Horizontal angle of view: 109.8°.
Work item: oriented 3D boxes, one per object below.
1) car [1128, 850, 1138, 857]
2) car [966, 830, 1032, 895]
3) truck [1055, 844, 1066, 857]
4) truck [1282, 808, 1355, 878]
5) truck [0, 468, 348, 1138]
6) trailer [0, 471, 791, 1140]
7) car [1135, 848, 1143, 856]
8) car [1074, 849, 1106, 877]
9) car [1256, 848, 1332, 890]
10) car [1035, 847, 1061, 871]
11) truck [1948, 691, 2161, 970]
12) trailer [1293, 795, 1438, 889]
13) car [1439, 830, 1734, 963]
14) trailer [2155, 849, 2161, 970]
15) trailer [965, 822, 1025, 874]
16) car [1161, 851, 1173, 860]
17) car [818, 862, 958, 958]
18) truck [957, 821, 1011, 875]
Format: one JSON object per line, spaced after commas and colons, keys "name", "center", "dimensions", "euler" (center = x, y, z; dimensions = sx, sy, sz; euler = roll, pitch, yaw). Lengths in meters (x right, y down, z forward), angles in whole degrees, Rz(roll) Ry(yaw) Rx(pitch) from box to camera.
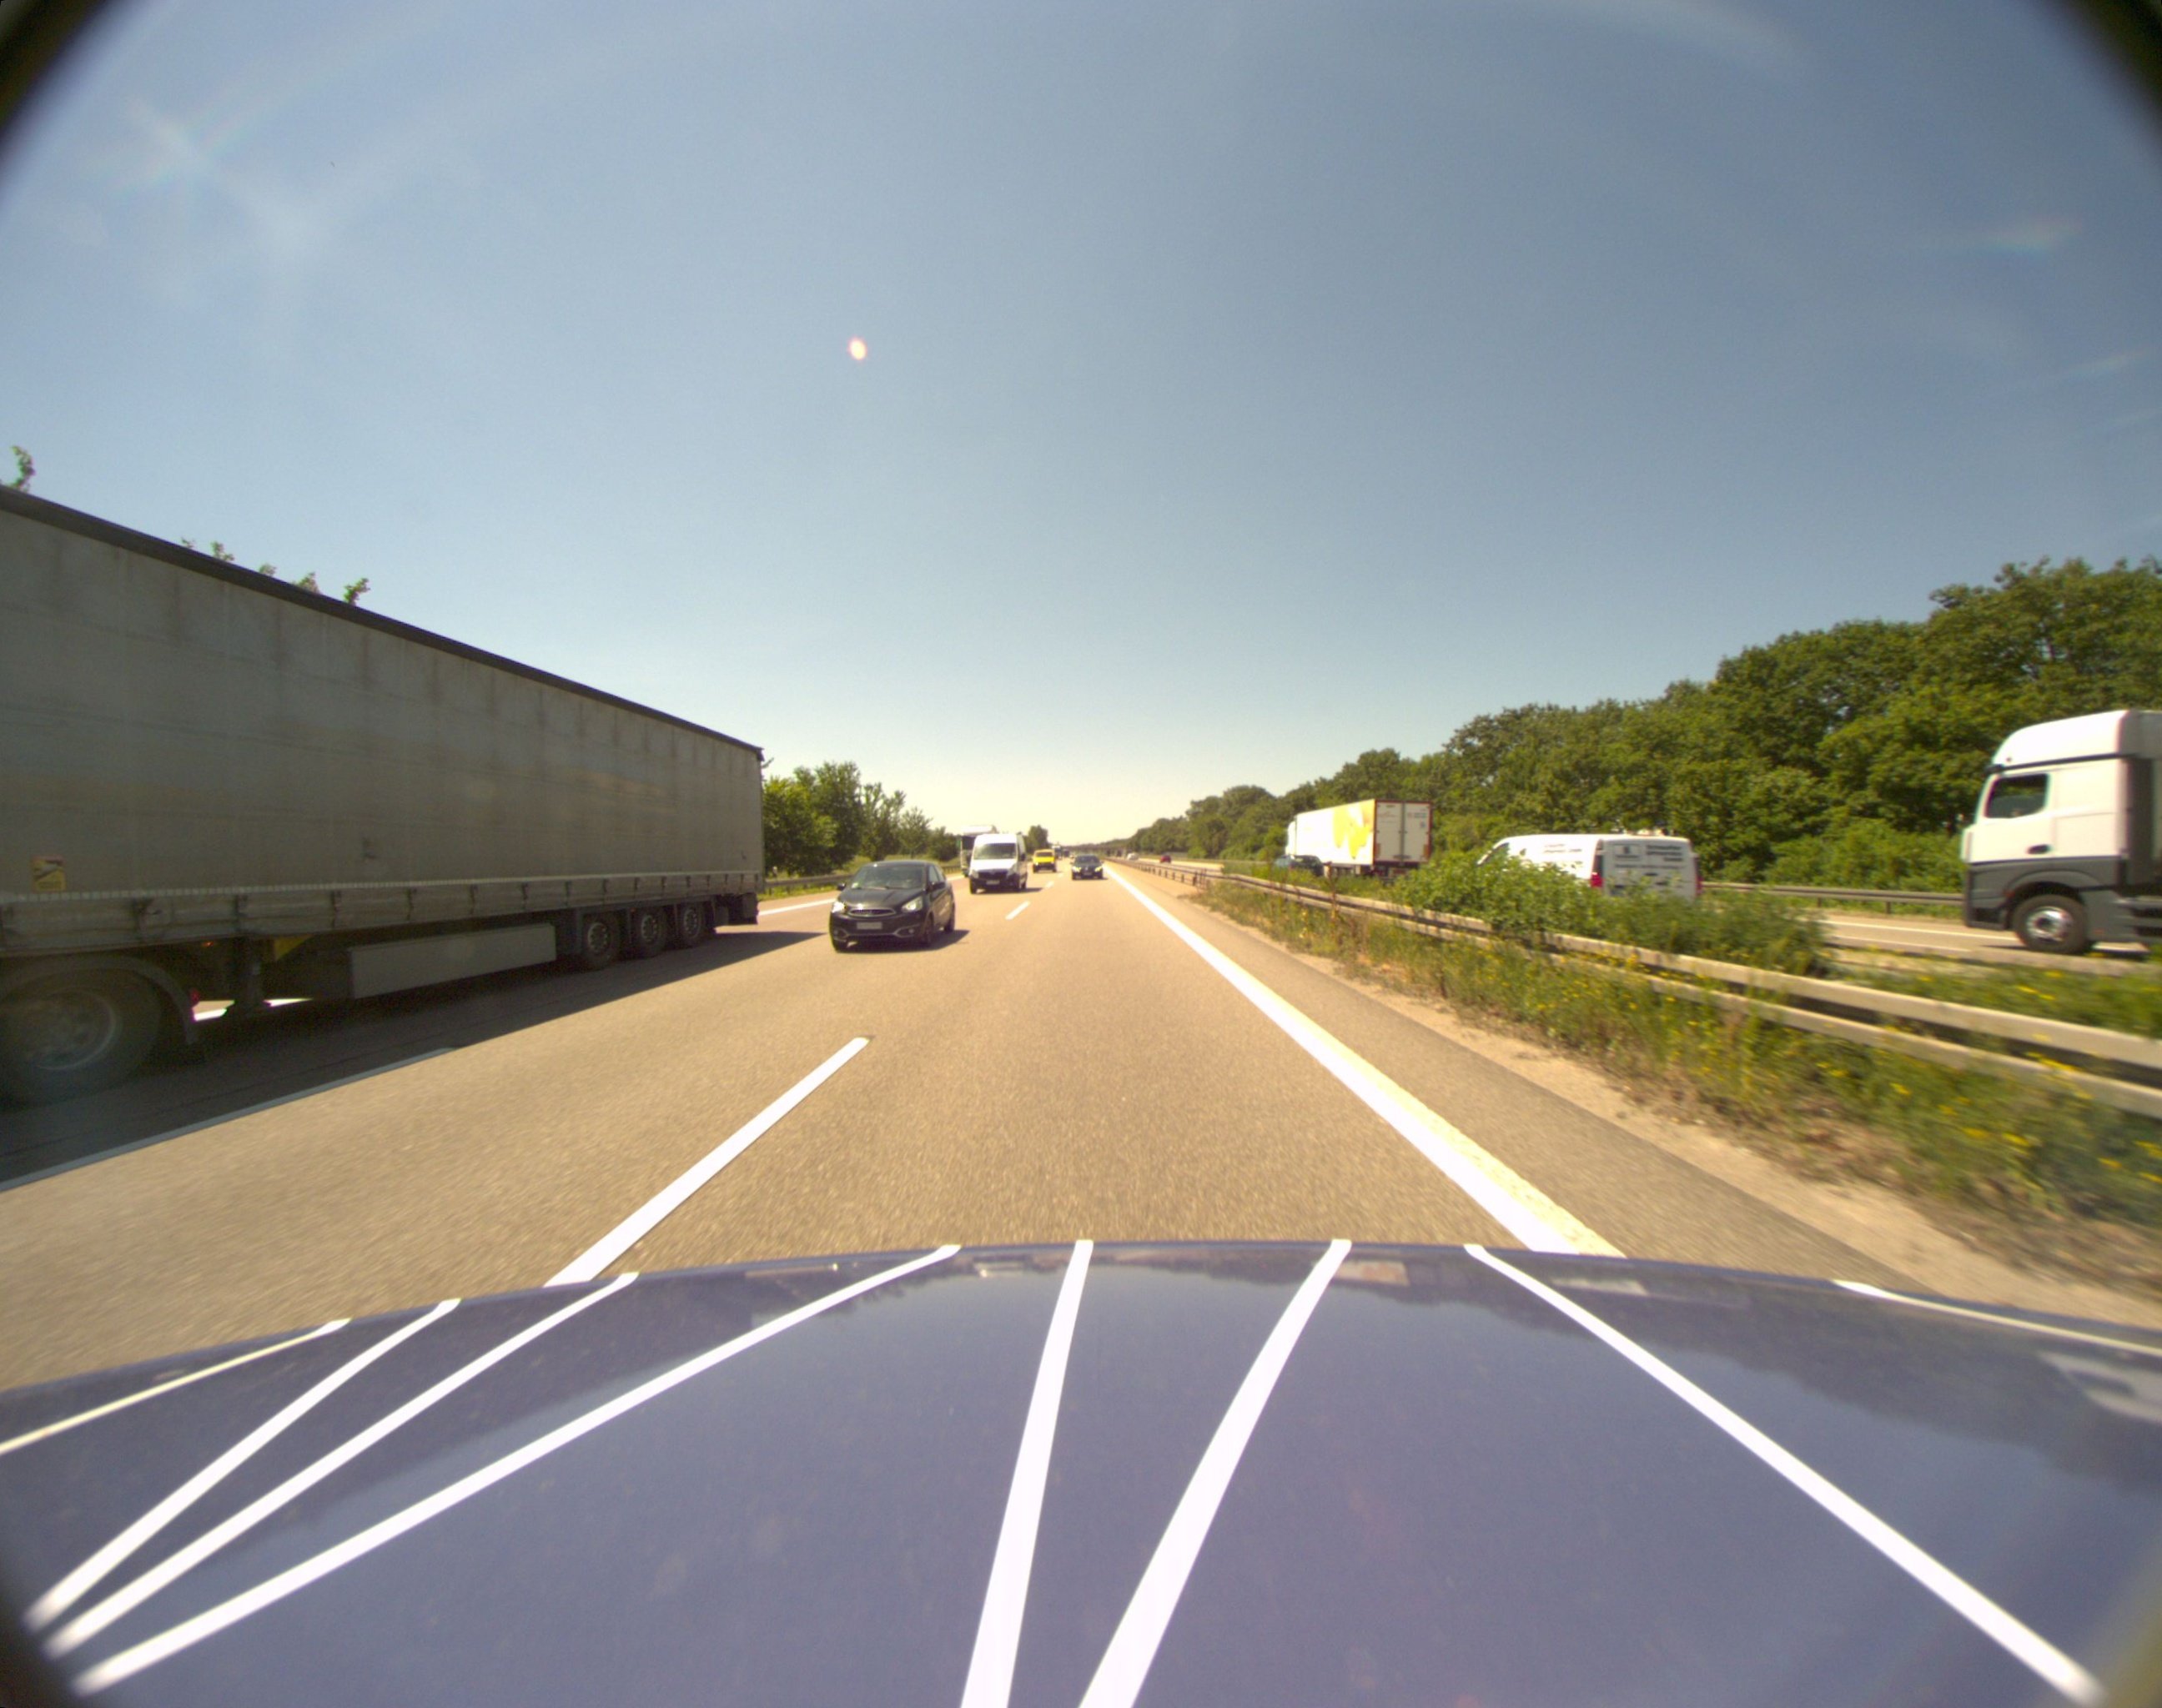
{"name": "car", "center": [10.739, -0.145, 157.324], "dimensions": [1.724, 1.414, 3.896], "euler": [1, 1, -2]}
{"name": "car", "center": [-3.439, 0.299, 33.112], "dimensions": [2.159, 2.494, 5.945], "euler": [-2, 1, 0]}
{"name": "truck", "center": [-5.758, -1.035, 213.072], "dimensions": [2.976, 3.626, 7.148], "euler": [-2, 1, -2]}
{"name": "truck", "center": [14.720, -0.657, 47.540], "dimensions": [2.746, 4.062, 6.217], "euler": [1, 1, 2]}
{"name": "truck", "center": [-8.333, -0.283, 3.392], "dimensions": [2.817, 4.279, 7.193], "euler": [-2, 1, 2]}
{"name": "trailer", "center": [-8.175, -0.336, 9.898], "dimensions": [2.817, 4.279, 14.253], "euler": [-2, 1, 2]}
{"name": "car", "center": [16.050, -0.615, 211.172], "dimensions": [1.793, 2.002, 4.379], "euler": [2, 1, 1]}
{"name": "car", "center": [0.594, 0.551, 48.580], "dimensions": [1.689, 1.646, 3.463], "euler": [-2, 1, 5]}
{"name": "car", "center": [9.553, 0.612, 34.488], "dimensions": [1.964, 1.684, 4.801], "euler": [-2, 1, -1]}
{"name": "car", "center": [-2.835, 0.371, 65.562], "dimensions": [1.958, 1.939, 3.999], "euler": [-2, 1, 0]}
{"name": "truck", "center": [17.176, -0.308, 10.711], "dimensions": [2.764, 4.079, 6.151], "euler": [2, 1, 1]}
{"name": "trailer", "center": [14.465, -0.597, 40.474], "dimensions": [2.746, 4.061, 14.347], "euler": [1, 1, 2]}
{"name": "car", "center": [9.195, 0.638, 14.612], "dimensions": [1.998, 2.019, 5.490], "euler": [-2, 1, 0]}
{"name": "trailer", "center": [17.057, -0.245, 4.066], "dimensions": [2.764, 4.079, 14.052], "euler": [2, 1, 1]}
{"name": "trailer", "center": [-7.167, -0.513, 65.746], "dimensions": [2.699, 3.943, 13.963], "euler": [-2, 0, 3]}
{"name": "car", "center": [15.037, 0.265, 132.393], "dimensions": [1.777, 1.409, 4.111], "euler": [1, 0, 2]}
{"name": "car", "center": [-3.383, 0.922, 13.954], "dimensions": [1.692, 1.465, 3.432], "euler": [-1, 0, -1]}
{"name": "truck", "center": [-7.506, -0.472, 59.876], "dimensions": [2.699, 3.943, 7.704], "euler": [-2, 0, 3]}
